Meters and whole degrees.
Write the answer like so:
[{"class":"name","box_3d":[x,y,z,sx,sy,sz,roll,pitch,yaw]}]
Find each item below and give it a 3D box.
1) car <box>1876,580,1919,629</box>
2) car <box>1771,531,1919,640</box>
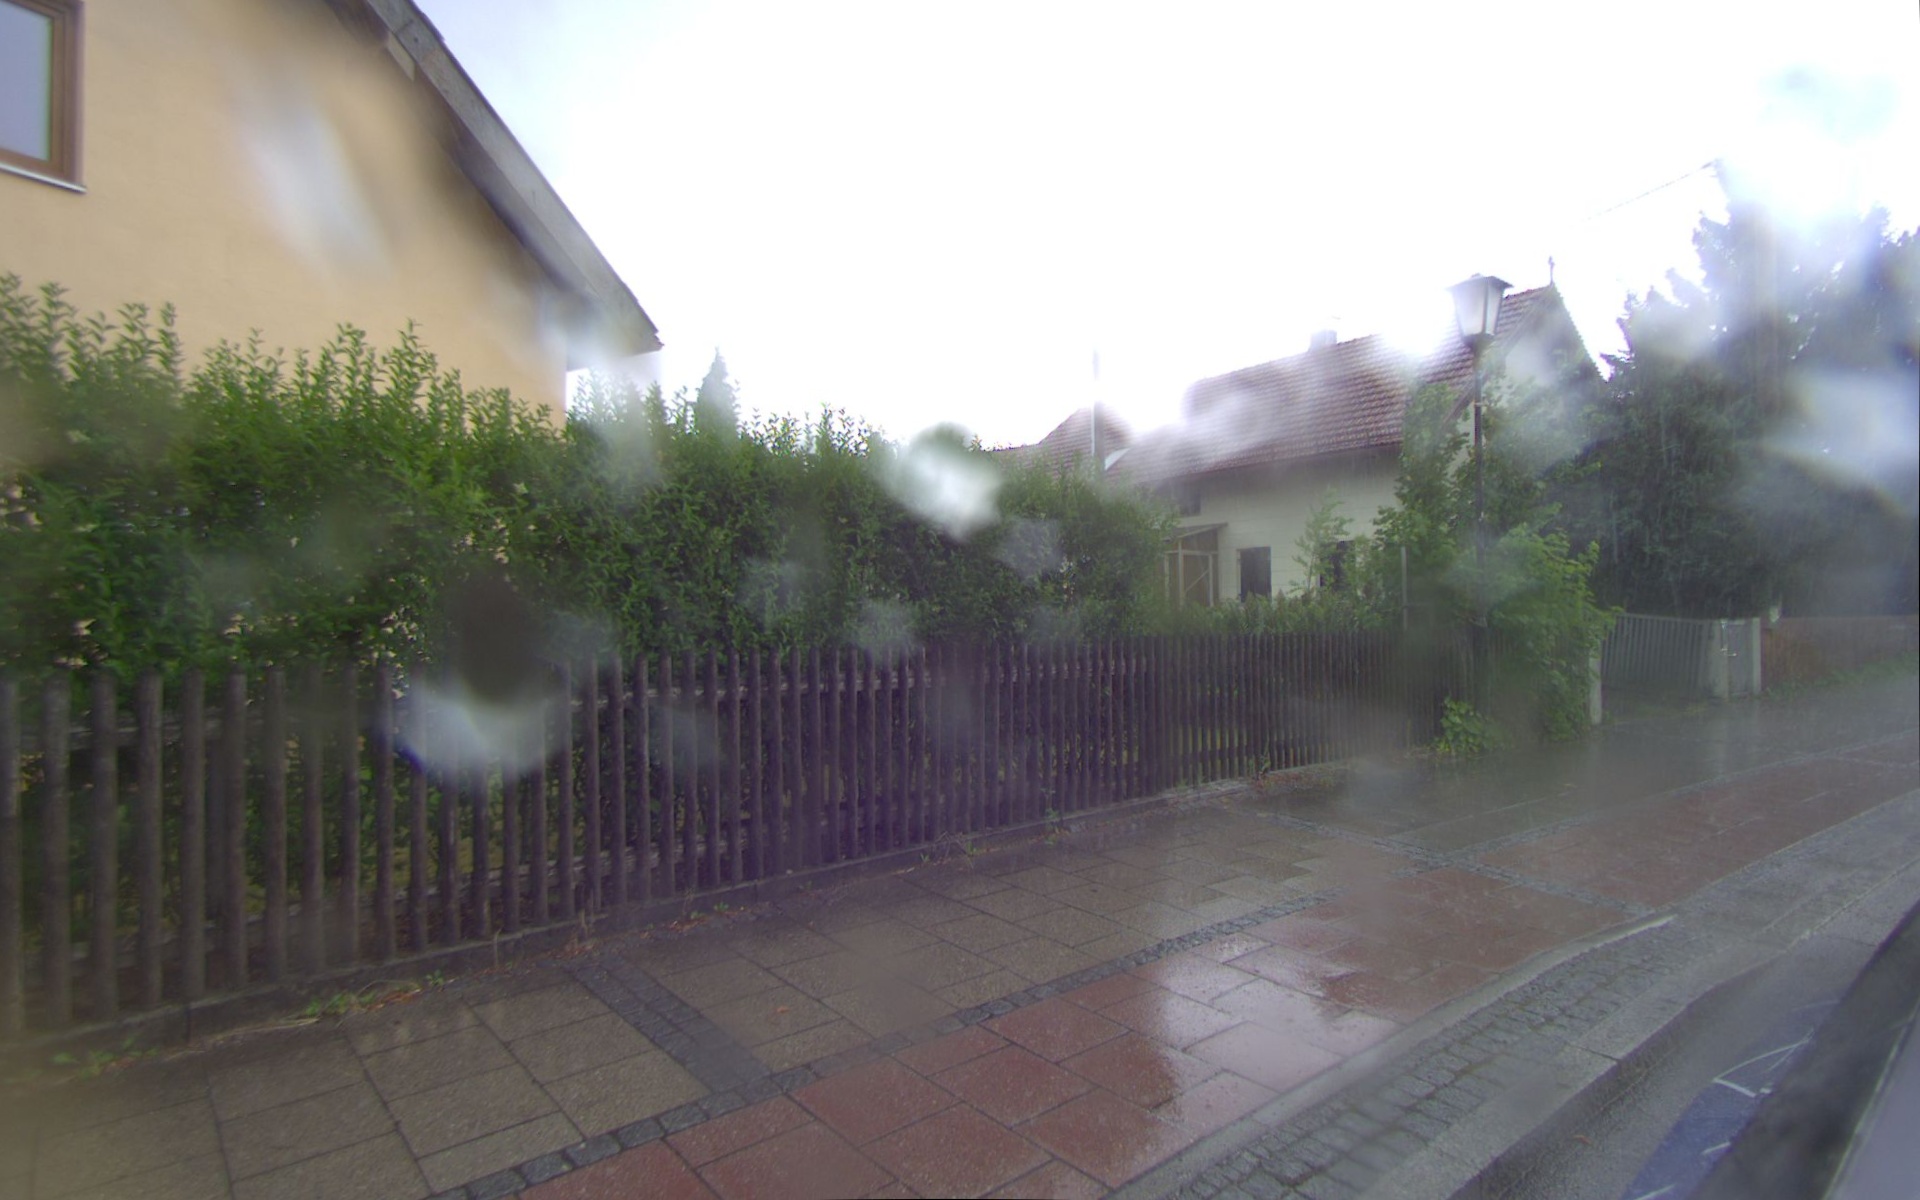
[{"class":"car","box_3d":[30.439,0.194,30.165,1.798,1.438,4.438,-1,3,-41]},{"class":"car","box_3d":[24.924,-0.393,26.623,1.966,2.761,5.311,-1,2,-42]}]
